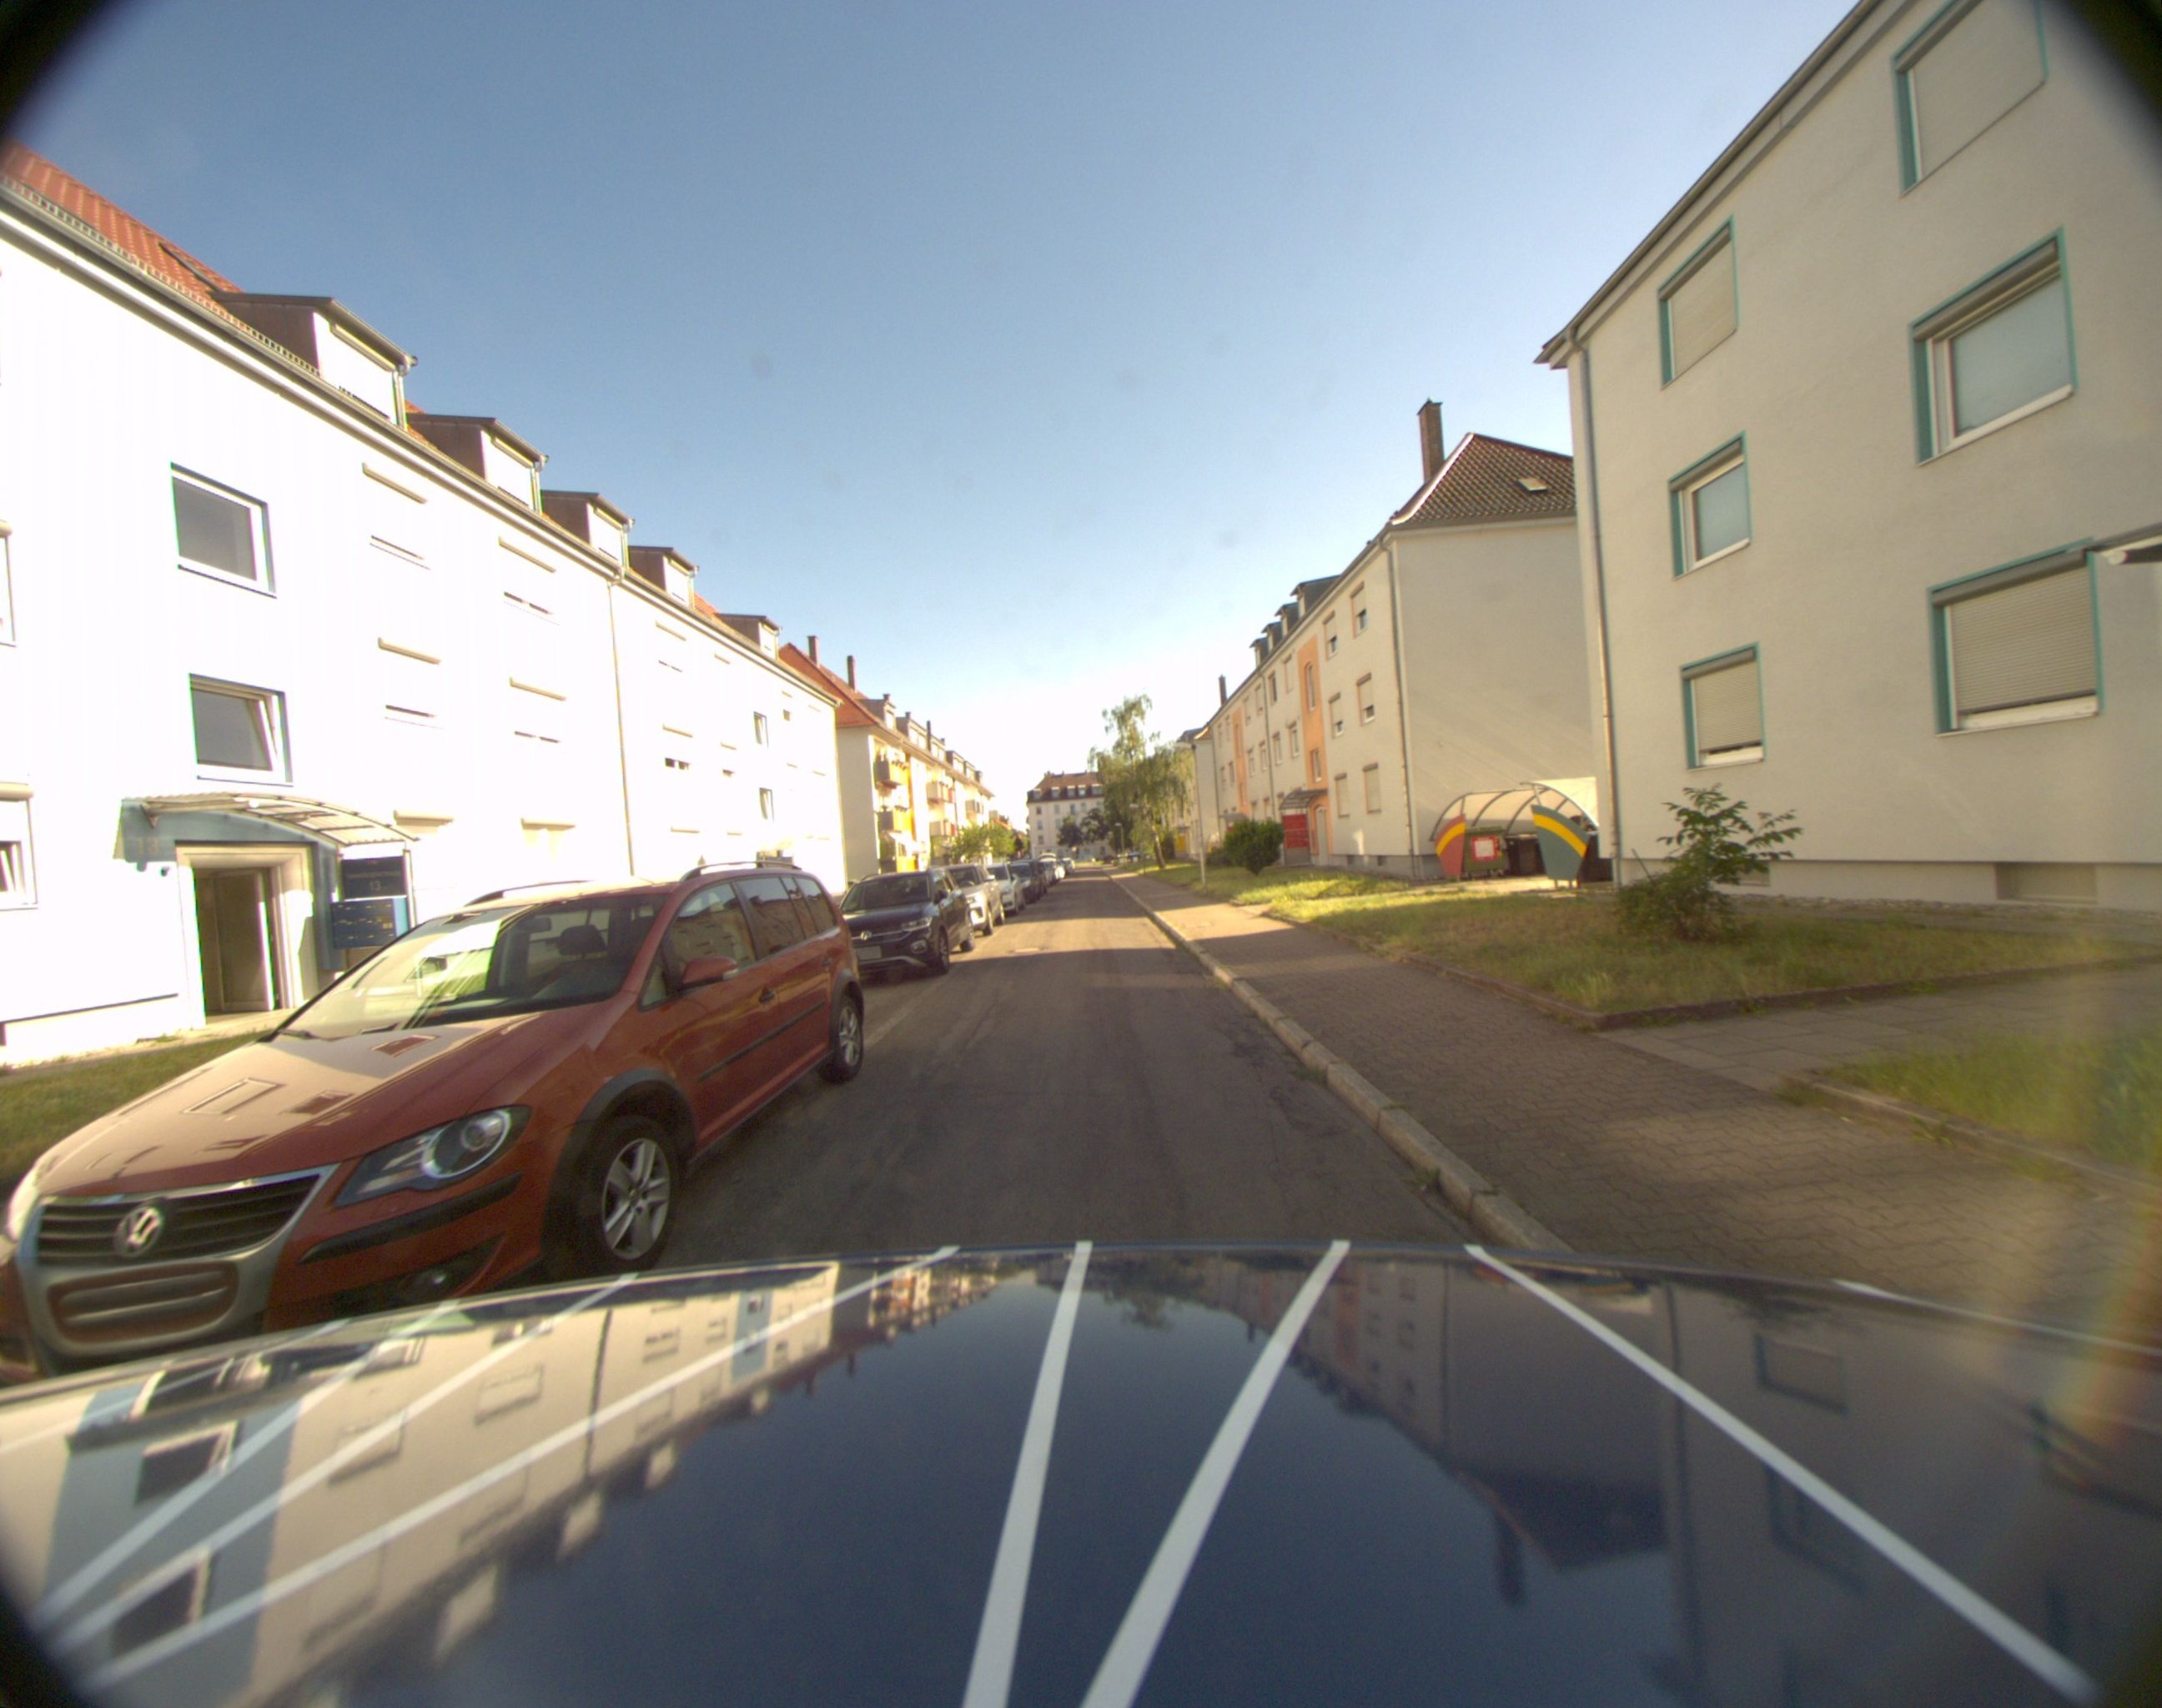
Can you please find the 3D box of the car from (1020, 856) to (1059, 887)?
[{"bbox_3d":[-2.389,0.999,45.142,1.708,1.562,4.381,-4,1,4],"label":"car"}]

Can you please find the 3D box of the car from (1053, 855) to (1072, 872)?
[{"bbox_3d":[-1.855,0.961,77.704,1.708,1.562,3.925,-4,1,1],"label":"car"}]

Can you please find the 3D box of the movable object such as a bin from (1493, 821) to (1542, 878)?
[{"bbox_3d":[11.186,-0.121,19.493,0.753,1.385,0.763,-4,1,1],"label":"movable object such as a bin"}]

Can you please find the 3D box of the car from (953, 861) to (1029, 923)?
[{"bbox_3d":[-2.637,1.073,23.149,1.709,1.562,4.041,-4,0,1],"label":"car"}]

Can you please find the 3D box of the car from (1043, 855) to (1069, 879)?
[{"bbox_3d":[-1.910,0.994,60.178,1.708,1.562,4.734,-4,1,1],"label":"car"}]

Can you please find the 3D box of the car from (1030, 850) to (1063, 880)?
[{"bbox_3d":[-2.407,0.752,54.117,1.953,1.890,4.763,-4,1,1],"label":"car"}]

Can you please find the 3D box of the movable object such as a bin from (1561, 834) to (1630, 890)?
[{"bbox_3d":[9.841,0.154,14.556,0.753,1.006,0.763,-4,0,1],"label":"movable object such as a bin"}]

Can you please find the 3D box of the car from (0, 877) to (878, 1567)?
[{"bbox_3d":[-2.657,1.048,4.184,1.731,1.597,4.423,-4,0,1],"label":"car"}]

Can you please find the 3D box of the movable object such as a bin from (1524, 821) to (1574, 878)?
[{"bbox_3d":[11.990,-0.115,19.486,0.753,1.385,0.763,-4,1,1],"label":"movable object such as a bin"}]

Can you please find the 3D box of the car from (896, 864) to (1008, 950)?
[{"bbox_3d":[-2.769,1.091,17.139,1.709,1.562,3.876,-4,0,1],"label":"car"}]

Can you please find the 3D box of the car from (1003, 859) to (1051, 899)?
[{"bbox_3d":[-2.390,1.066,34.418,1.709,1.562,4.041,-4,0,1],"label":"car"}]

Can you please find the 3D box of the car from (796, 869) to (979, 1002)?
[{"bbox_3d":[-2.809,1.117,11.934,1.709,1.516,3.876,-5,0,1],"label":"car"}]

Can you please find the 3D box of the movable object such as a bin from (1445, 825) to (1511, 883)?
[{"bbox_3d":[10.160,0.005,19.486,1.167,1.385,0.877,-4,1,1],"label":"movable object such as a bin"}]

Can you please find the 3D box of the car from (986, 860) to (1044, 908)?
[{"bbox_3d":[-2.455,1.087,29.011,1.709,1.562,4.041,-4,0,1],"label":"car"}]
